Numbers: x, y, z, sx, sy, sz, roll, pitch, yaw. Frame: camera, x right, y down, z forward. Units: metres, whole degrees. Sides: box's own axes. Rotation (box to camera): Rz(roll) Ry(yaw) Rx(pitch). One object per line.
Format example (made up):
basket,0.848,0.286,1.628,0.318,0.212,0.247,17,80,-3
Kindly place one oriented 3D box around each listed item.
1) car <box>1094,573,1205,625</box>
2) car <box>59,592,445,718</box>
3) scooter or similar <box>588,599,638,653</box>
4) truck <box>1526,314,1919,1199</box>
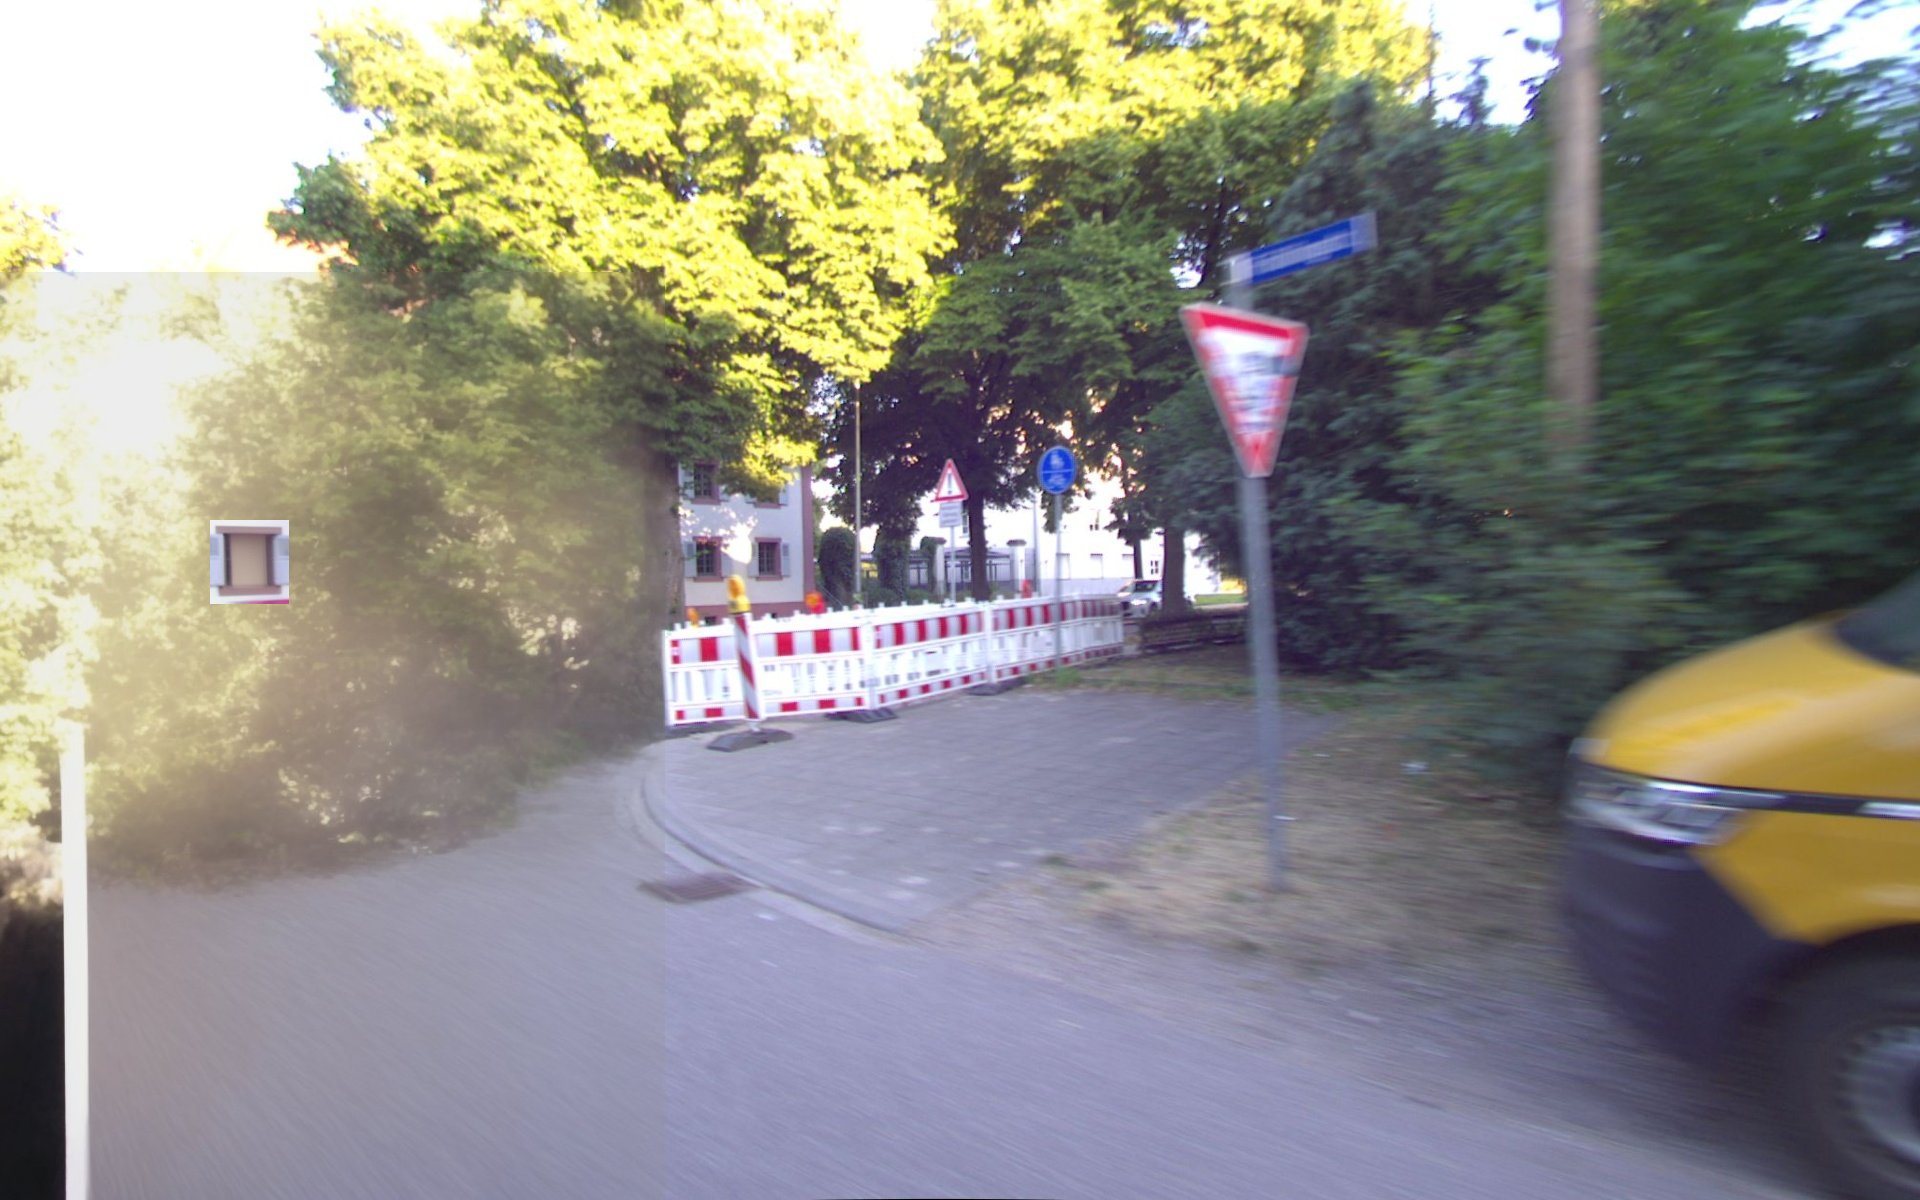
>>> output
car,6.715,-0.057,35.523,1.791,1.568,4.349,-3,1,42
car,-10.215,0.705,14.939,1.617,1.423,4.355,-3,1,38
scooter or similar,-8.693,0.640,25.357,0.239,1.285,1.252,-1,1,34
truck,4.282,0.292,1.566,5.657,1.927,2.014,-1,2,40
